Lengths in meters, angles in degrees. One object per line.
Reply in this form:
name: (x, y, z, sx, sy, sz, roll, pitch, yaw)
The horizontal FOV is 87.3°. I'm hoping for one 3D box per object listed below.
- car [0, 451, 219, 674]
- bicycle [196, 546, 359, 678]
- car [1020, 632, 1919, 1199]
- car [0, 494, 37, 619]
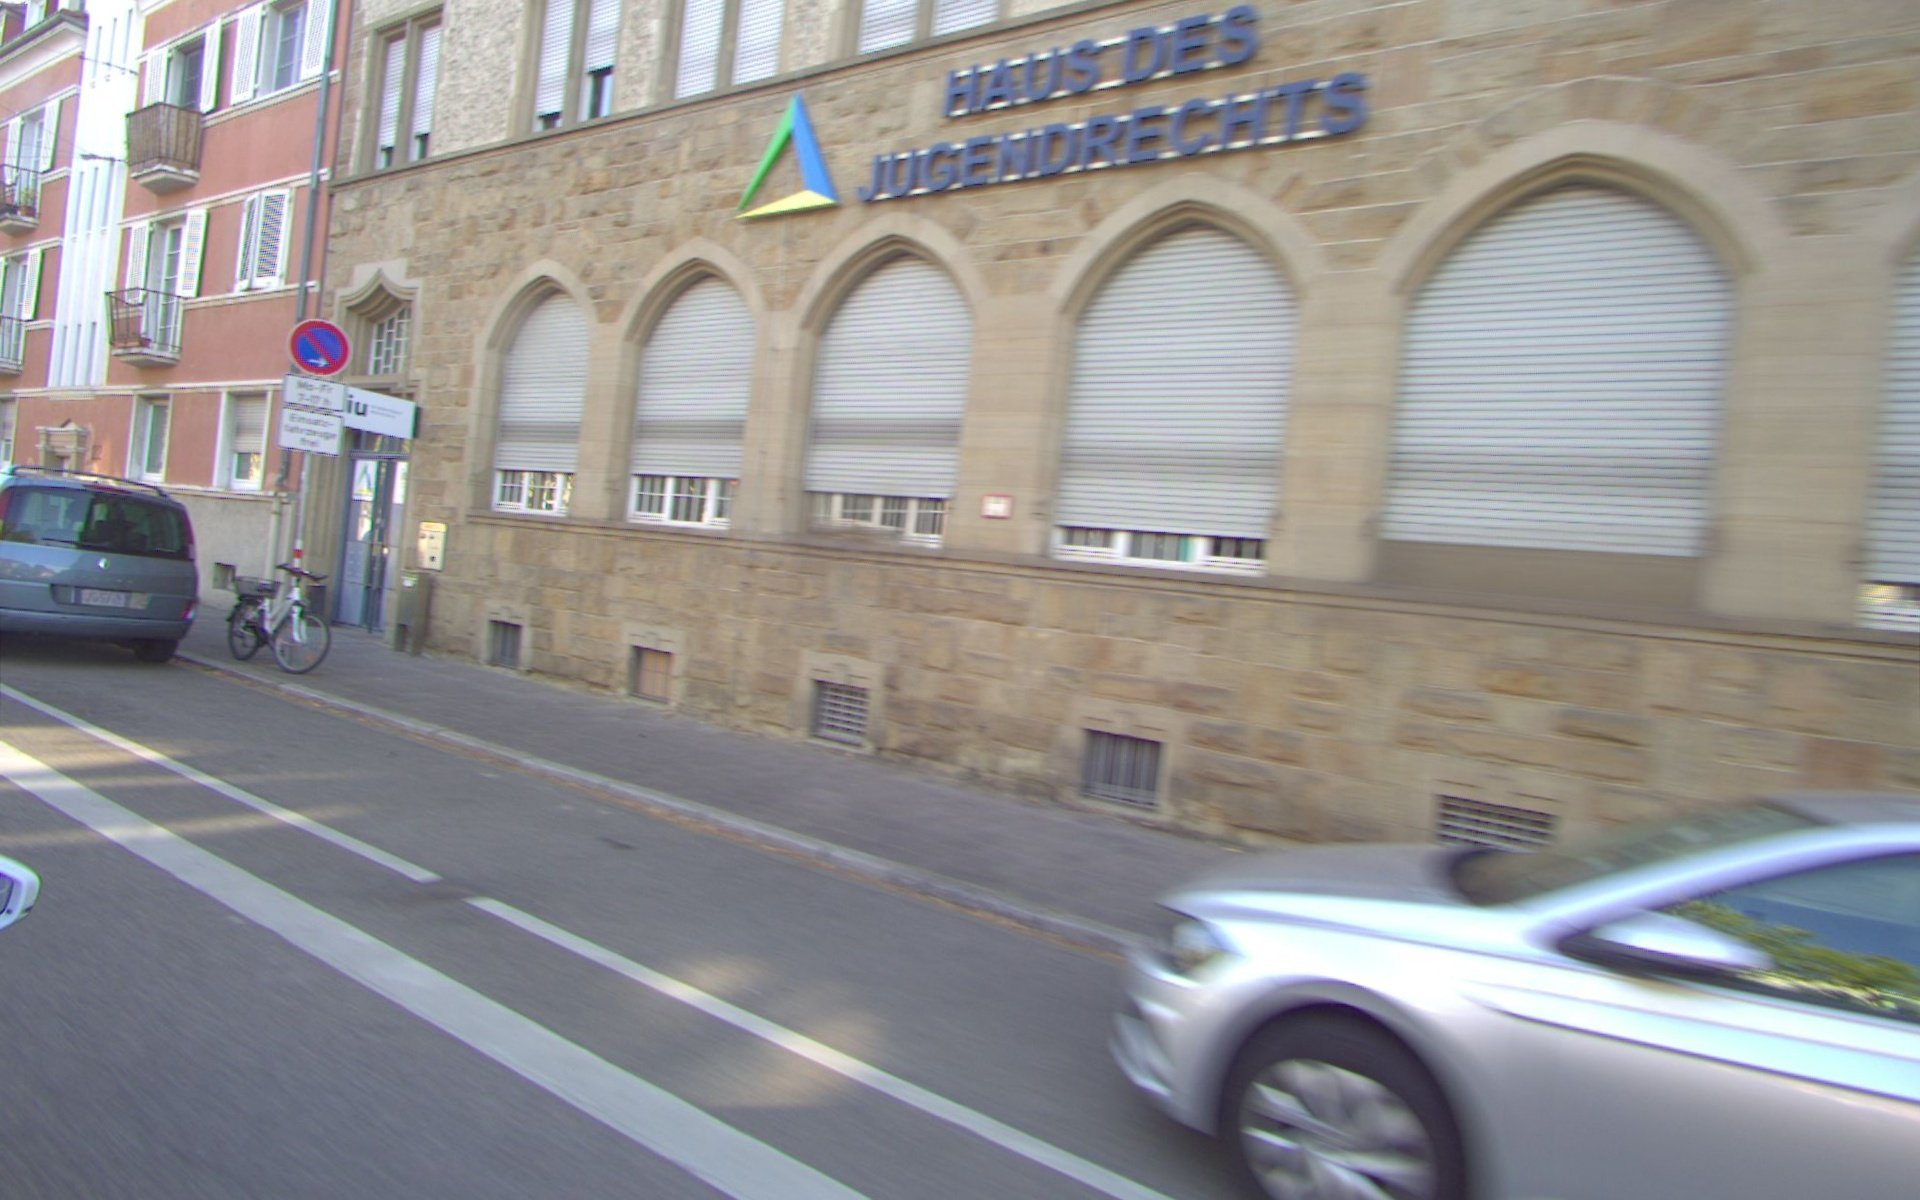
car: (-9.956, -0.510, 10.554, 4.736, 1.877, 1.755, 7, -1, 32)
bicycle: (-7.349, 0.102, 10.788, 2.221, 1.154, 0.515, 7, 2, 31)
car: (2.470, 1.149, 2.725, 4.156, 1.518, 1.717, 7, -2, 32)
car: (-13.766, -0.790, 13.072, 3.656, 1.528, 1.634, 7, -2, 33)
